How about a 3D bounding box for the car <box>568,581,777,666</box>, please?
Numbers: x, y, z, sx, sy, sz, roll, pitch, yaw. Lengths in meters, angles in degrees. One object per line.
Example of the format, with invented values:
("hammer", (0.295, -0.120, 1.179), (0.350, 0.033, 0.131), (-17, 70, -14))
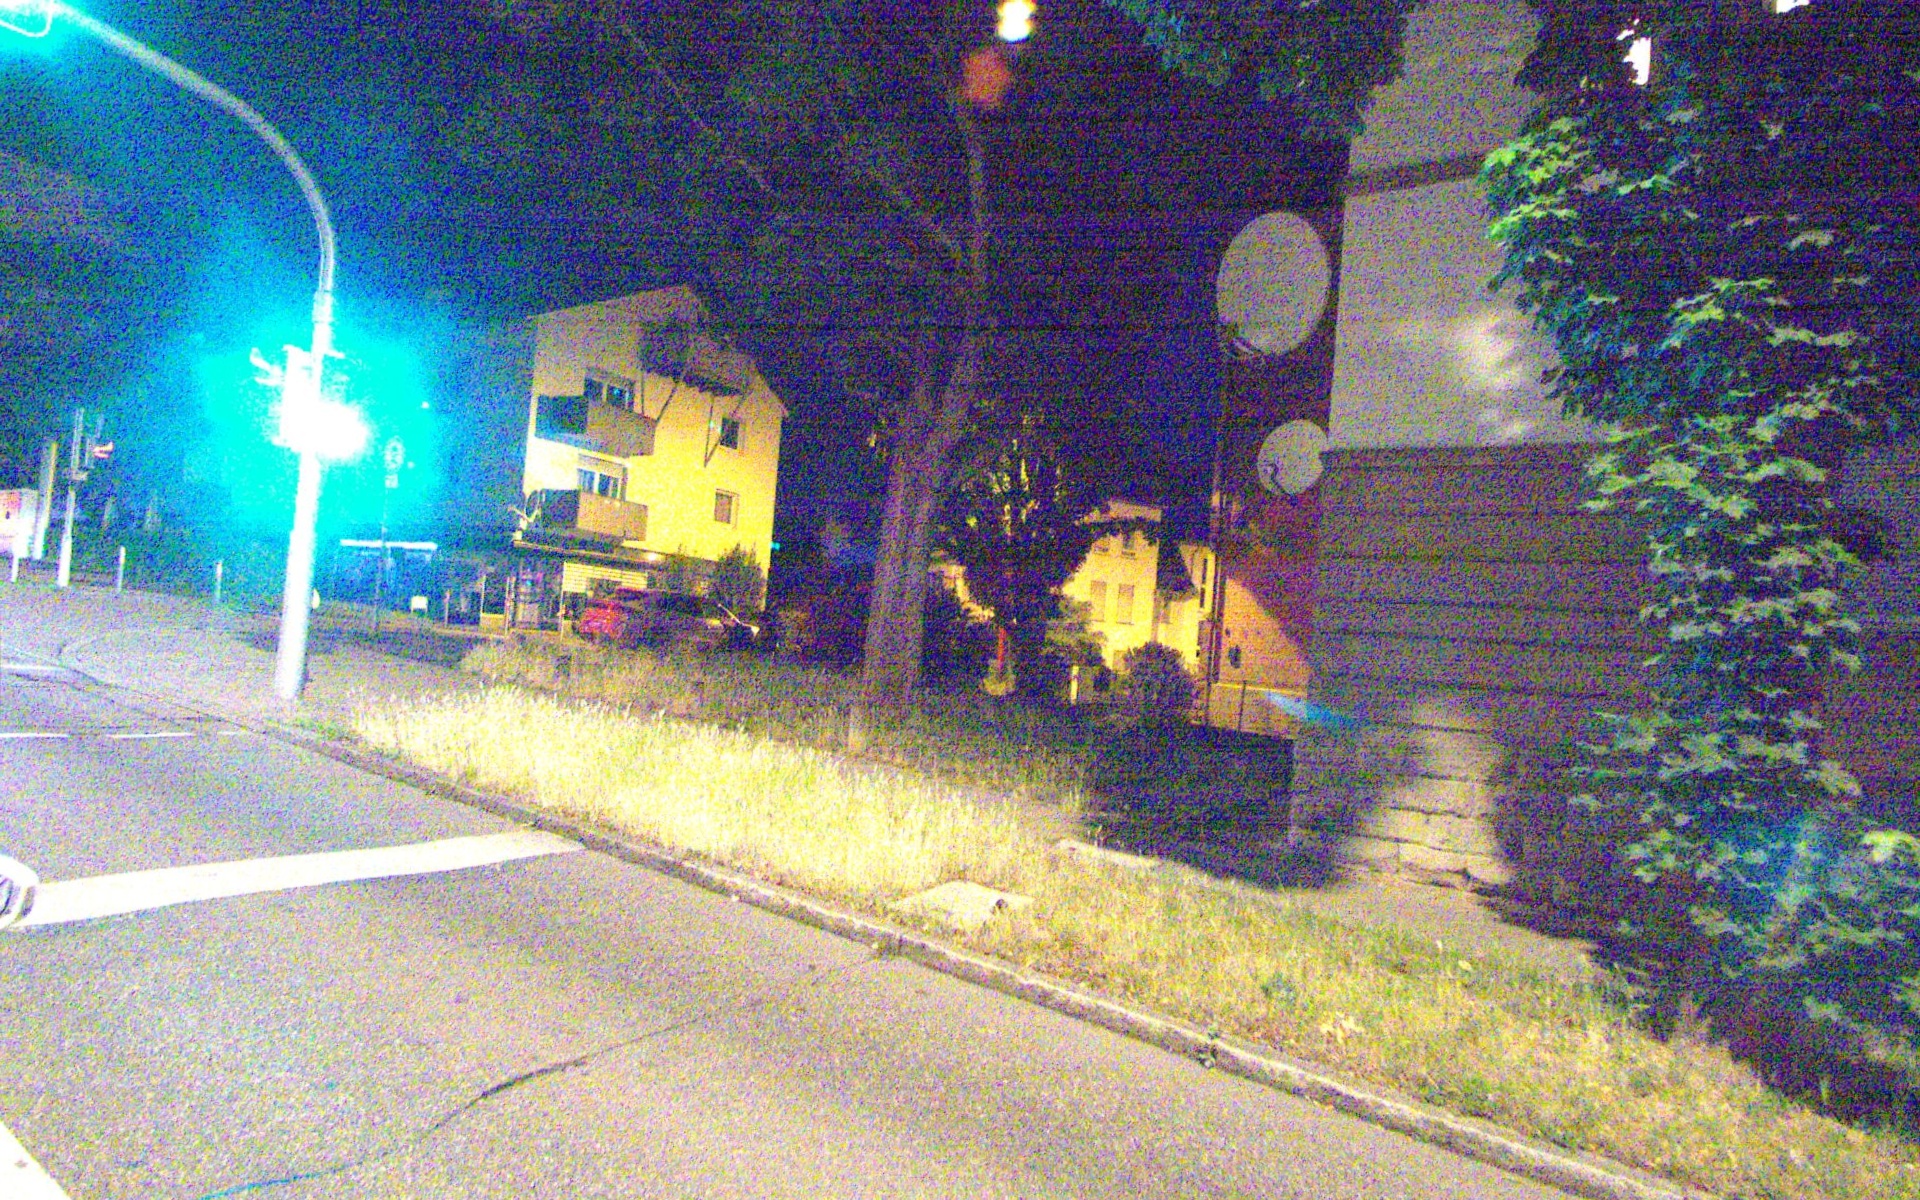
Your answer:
("car", (-6.535, 0.599, 23.320), (1.778, 1.577, 4.366), (3, -3, 38))
